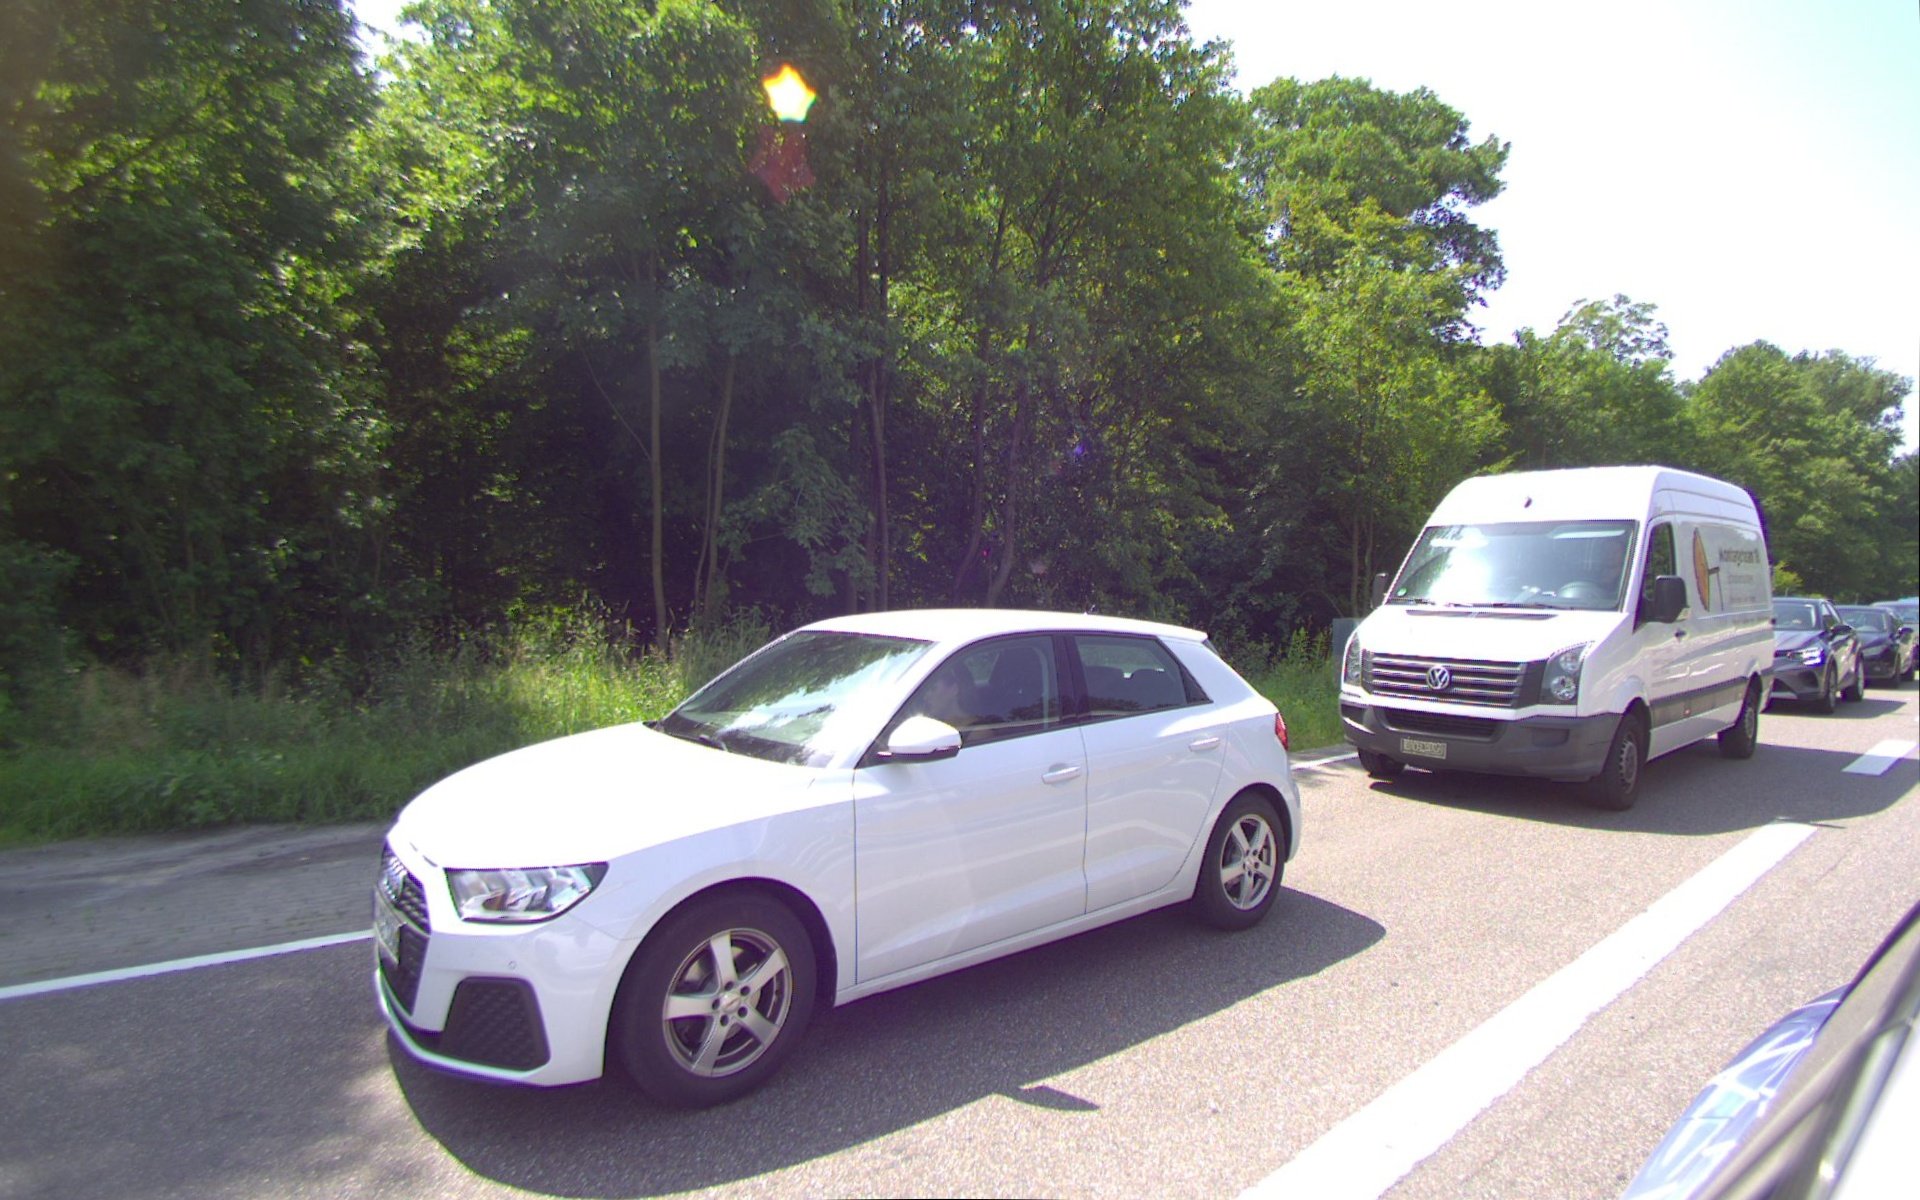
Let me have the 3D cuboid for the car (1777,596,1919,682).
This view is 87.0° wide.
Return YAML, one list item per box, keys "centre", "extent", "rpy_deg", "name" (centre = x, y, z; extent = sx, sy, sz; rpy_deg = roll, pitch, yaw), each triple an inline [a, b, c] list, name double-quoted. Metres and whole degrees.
- centre: [16.646, 0.637, 18.719]
  extent: [4.157, 1.372, 1.794]
  rpy_deg: [0, 1, -43]
  name: "car"

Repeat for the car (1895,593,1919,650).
- centre: [26.677, 0.557, 27.321]
  extent: [4.157, 1.457, 1.794]
  rpy_deg: [0, 1, -43]
  name: "car"

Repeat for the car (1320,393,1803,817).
- centre: [5.692, 0.030, 9.104]
  extent: [5.953, 2.679, 1.973]
  rpy_deg: [0, 0, -41]
  name: "car"

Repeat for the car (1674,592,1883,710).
- centre: [11.988, 0.622, 14.722]
  extent: [4.157, 1.479, 1.794]
  rpy_deg: [0, 0, -43]
  name: "car"

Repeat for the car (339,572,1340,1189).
- centre: [-0.236, 0.667, 4.294]
  extent: [3.927, 1.454, 1.693]
  rpy_deg: [0, -1, -39]
  name: "car"

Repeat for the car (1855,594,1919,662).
- centre: [22.241, 0.603, 23.477]
  extent: [4.157, 1.457, 1.794]
  rpy_deg: [0, 1, -43]
  name: "car"
